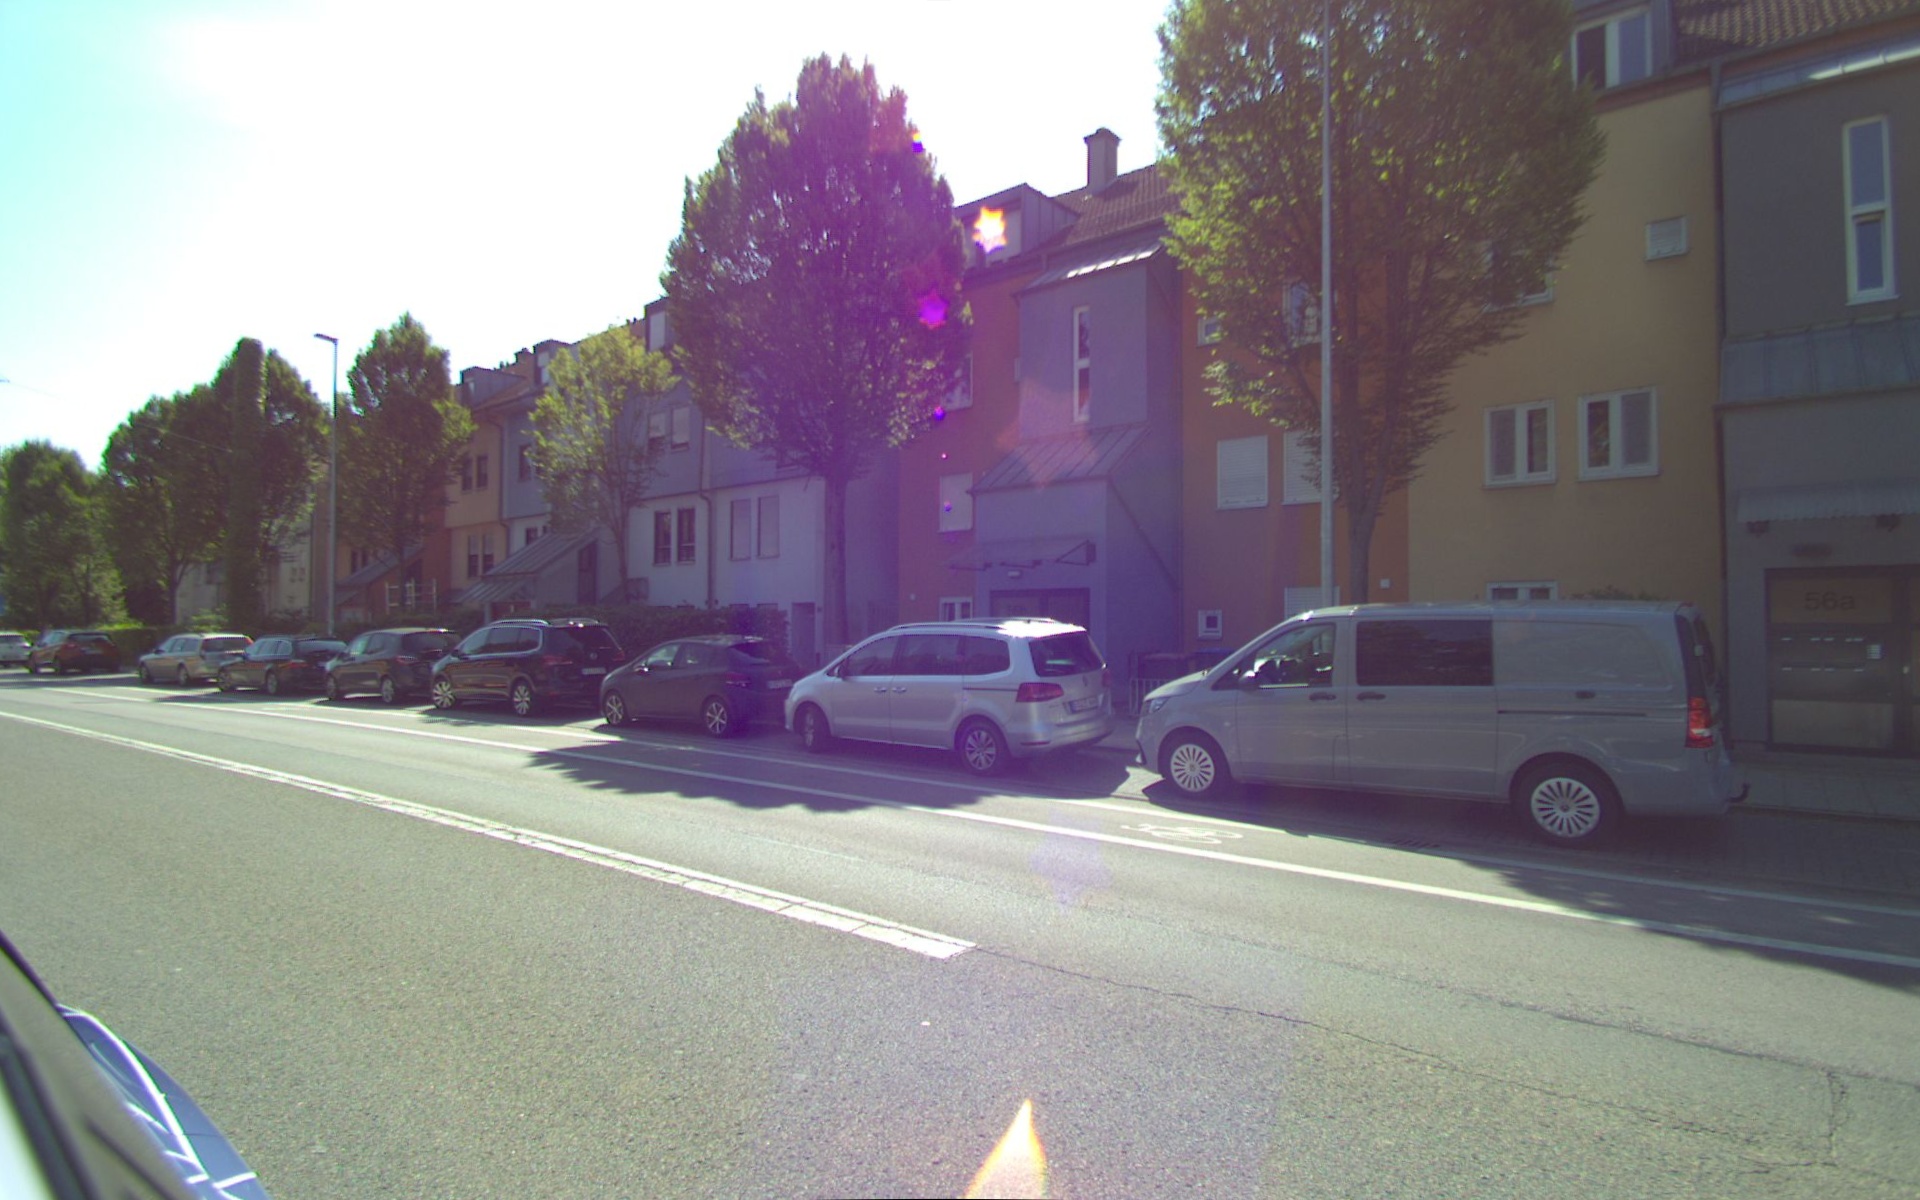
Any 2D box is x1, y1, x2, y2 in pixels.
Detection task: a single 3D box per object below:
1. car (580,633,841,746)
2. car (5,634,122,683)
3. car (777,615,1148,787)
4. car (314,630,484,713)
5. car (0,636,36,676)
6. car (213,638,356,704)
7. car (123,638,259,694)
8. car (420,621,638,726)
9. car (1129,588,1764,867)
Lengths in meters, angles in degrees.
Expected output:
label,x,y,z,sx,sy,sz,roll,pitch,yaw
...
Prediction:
label,x,y,z,sx,sy,sz,roll,pitch,yaw
car,-4.047,1.323,16.196,4.067,1.466,1.850,-1,1,36
car,-31.889,2.016,35.953,4.917,1.588,1.890,-1,-1,33
car,-0.105,1.106,12.786,4.537,1.715,1.830,-1,1,40
car,-12.364,1.490,22.222,4.157,1.619,1.662,-1,-1,36
car,-38.533,2.215,40.001,4.120,1.510,2.018,-1,-1,33
car,-17.064,1.730,25.501,4.205,1.481,1.662,-1,-1,36
car,-22.487,1.862,29.532,4.823,1.457,1.663,-1,-1,33
car,-8.227,1.303,19.192,4.341,1.741,1.813,-1,0,36
car,4.272,0.941,9.409,4.962,1.880,1.974,-2,1,40
